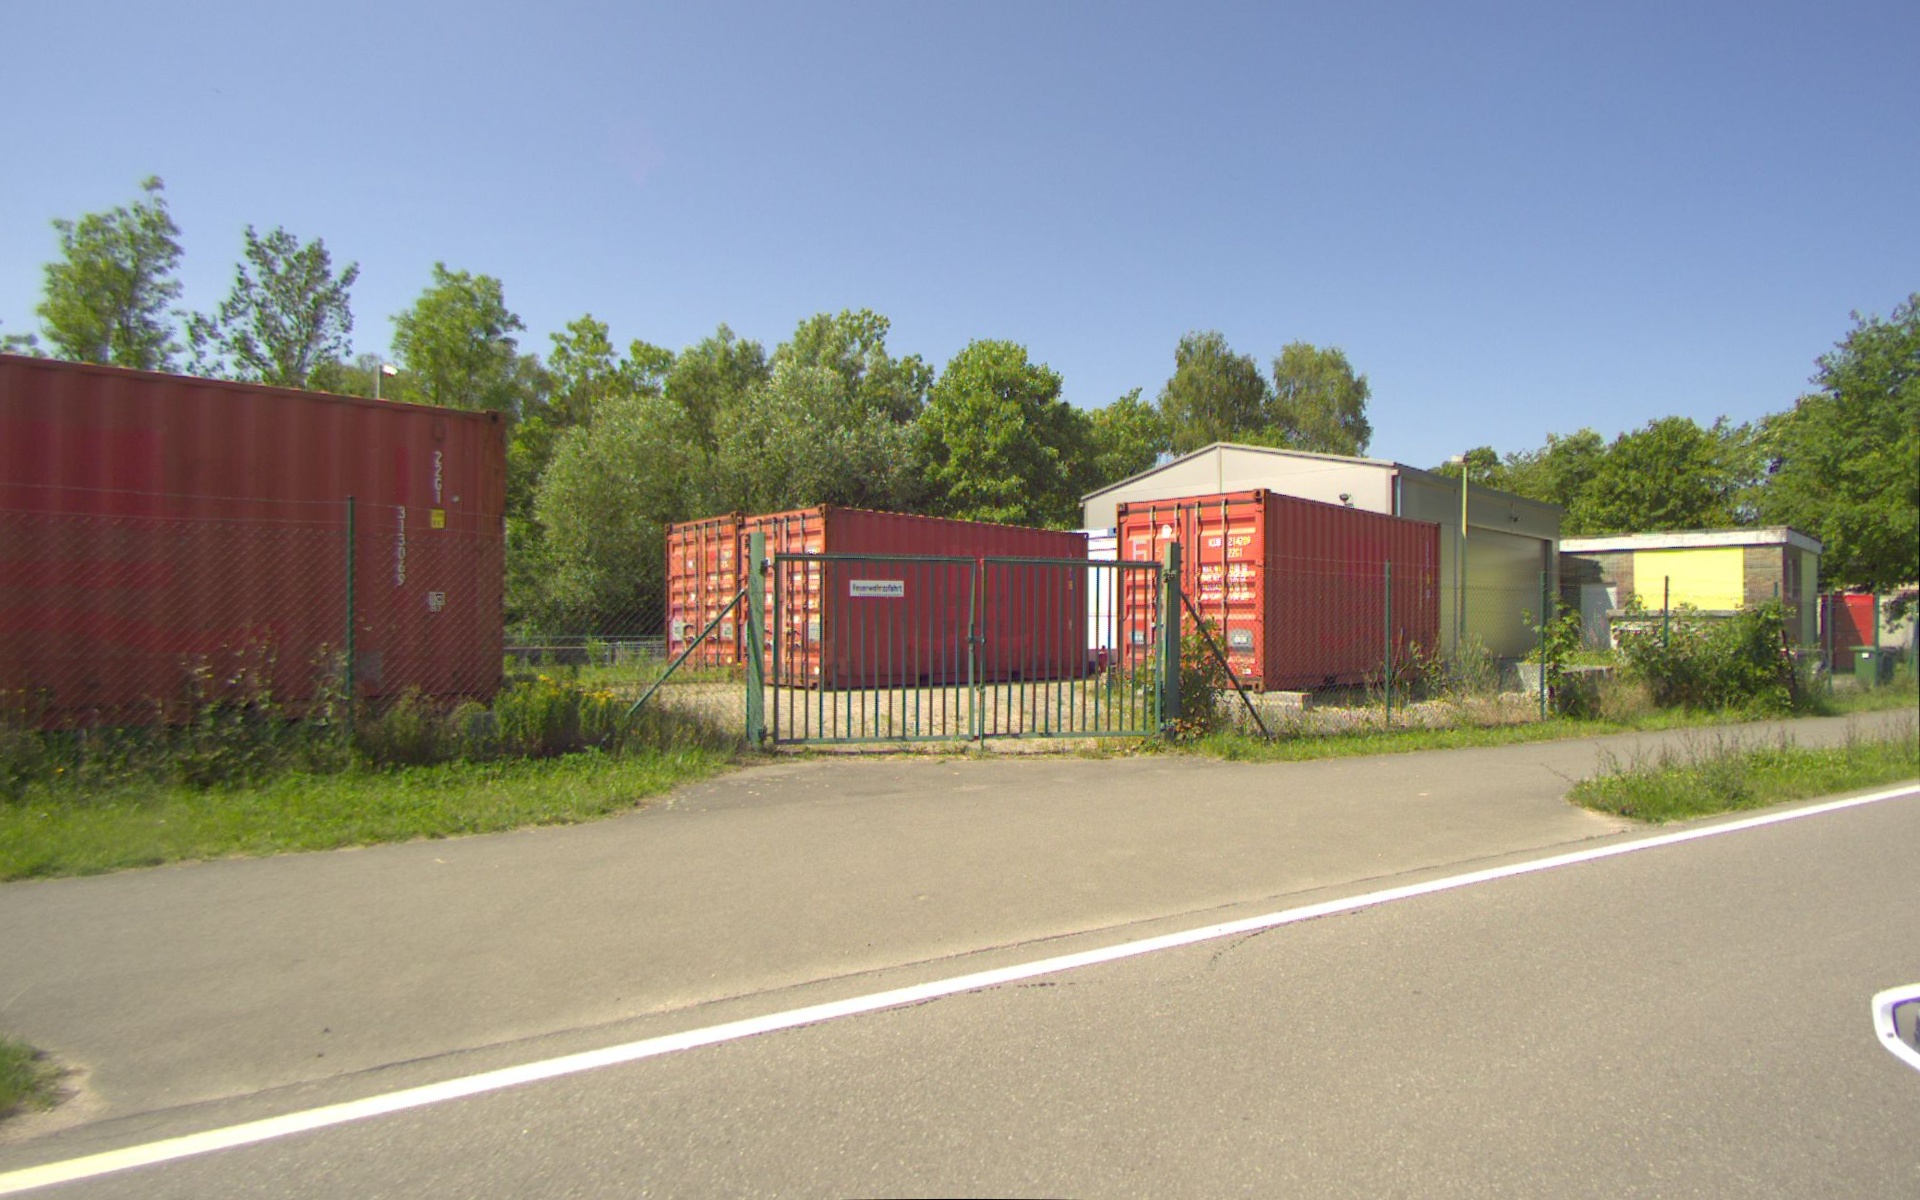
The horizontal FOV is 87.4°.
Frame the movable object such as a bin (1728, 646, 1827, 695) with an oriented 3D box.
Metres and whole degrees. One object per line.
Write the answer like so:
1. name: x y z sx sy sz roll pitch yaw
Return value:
1. movable object such as a bin: 15.949 1.351 19.590 1.840 0.842 1.089 1 -1 -37
